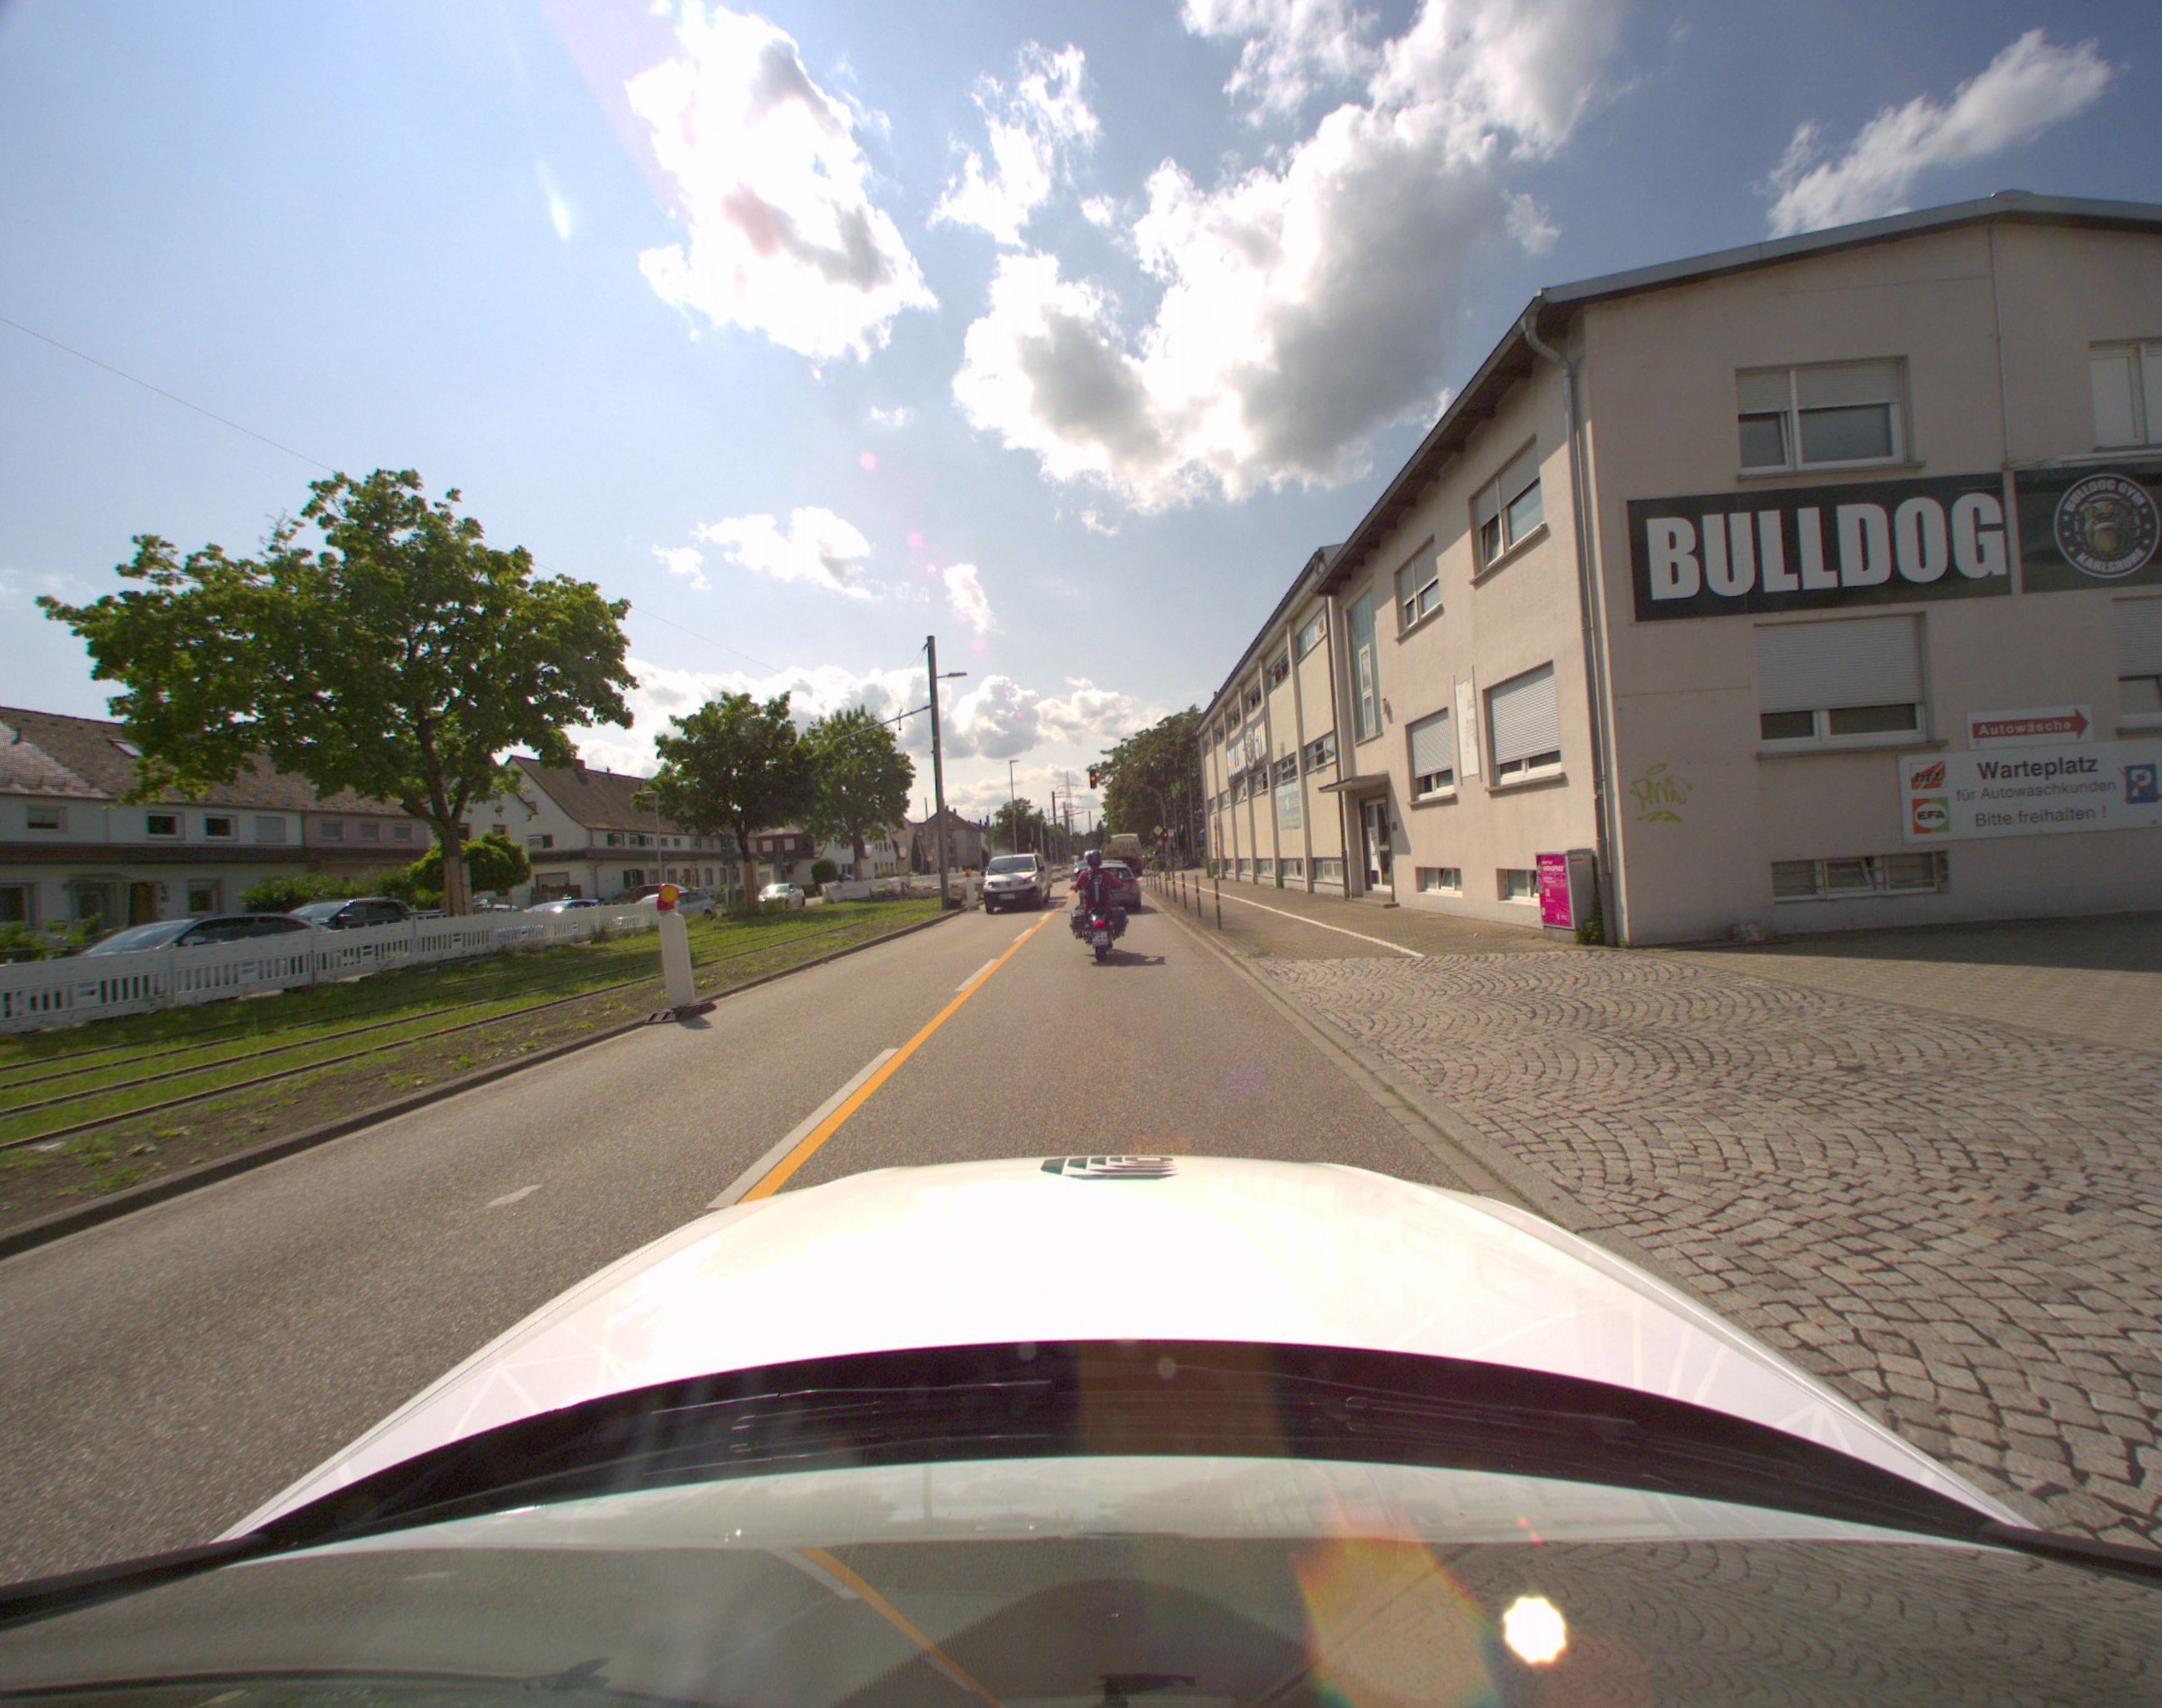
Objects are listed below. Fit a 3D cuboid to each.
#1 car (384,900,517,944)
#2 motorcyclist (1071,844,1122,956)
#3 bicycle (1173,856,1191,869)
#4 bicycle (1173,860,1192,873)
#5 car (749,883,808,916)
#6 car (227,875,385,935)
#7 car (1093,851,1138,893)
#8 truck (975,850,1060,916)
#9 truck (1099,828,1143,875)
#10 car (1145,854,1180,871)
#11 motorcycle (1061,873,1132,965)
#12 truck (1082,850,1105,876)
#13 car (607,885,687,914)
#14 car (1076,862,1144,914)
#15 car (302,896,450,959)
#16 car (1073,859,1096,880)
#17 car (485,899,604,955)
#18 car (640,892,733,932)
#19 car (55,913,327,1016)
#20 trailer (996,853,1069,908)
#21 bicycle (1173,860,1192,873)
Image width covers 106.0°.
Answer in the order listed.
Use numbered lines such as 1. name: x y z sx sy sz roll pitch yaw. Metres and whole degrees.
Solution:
1. car: -28.441 3.047 36.866 4.405 1.686 1.794 -2 -1 -9
2. motorcyclist: 0.233 0.677 12.237 0.695 1.604 0.692 -2 -1 1
3. bicycle: 9.575 0.799 77.188 1.698 1.172 0.439 -2 -1 6
4. bicycle: 9.495 1.175 76.167 1.698 1.172 0.439 -2 -1 6
5. car: -15.205 2.262 41.125 1.537 1.376 4.246 -5 -1 -4
6. car: -28.689 1.832 30.337 1.986 2.014 4.000 -2 -1 1
7. car: 1.725 0.803 38.772 1.893 1.712 4.724 -4 0 4
8. truck: -2.107 0.924 28.661 1.810 1.909 5.127 -6 0 7
9. truck: 3.092 -0.082 60.658 2.954 3.173 7.773 -2 -1 4
10. car: 9.638 0.986 96.266 4.022 1.926 1.781 -1 -2 -43
11. motorcycle: 0.257 0.923 12.446 0.939 1.200 2.473 -2 -1 2
12. truck: 1.373 0.943 88.074 2.084 2.476 5.199 -5 1 3
13. car: -27.364 2.849 51.438 3.973 1.509 1.726 -4 -1 0
14. car: 0.789 0.978 24.779 1.727 1.404 4.082 -1 -1 -3
15. car: -20.741 2.118 24.126 1.378 1.495 3.312 -4 -1 1
16. car: 0.312 1.236 66.439 1.638 1.498 4.272 -3 0 3
17. car: -15.674 2.090 23.953 1.336 1.325 3.169 -4 -1 -1
18. car: -14.687 2.134 30.549 1.497 1.176 3.749 -4 -1 2
19. car: -15.781 1.888 14.669 1.345 1.377 3.115 -5 -1 2
20. trailer: -1.848 1.008 32.894 2.053 1.835 5.491 -6 -1 4
21. bicycle: 9.538 1.187 76.638 1.698 1.172 0.439 -2 -1 6
